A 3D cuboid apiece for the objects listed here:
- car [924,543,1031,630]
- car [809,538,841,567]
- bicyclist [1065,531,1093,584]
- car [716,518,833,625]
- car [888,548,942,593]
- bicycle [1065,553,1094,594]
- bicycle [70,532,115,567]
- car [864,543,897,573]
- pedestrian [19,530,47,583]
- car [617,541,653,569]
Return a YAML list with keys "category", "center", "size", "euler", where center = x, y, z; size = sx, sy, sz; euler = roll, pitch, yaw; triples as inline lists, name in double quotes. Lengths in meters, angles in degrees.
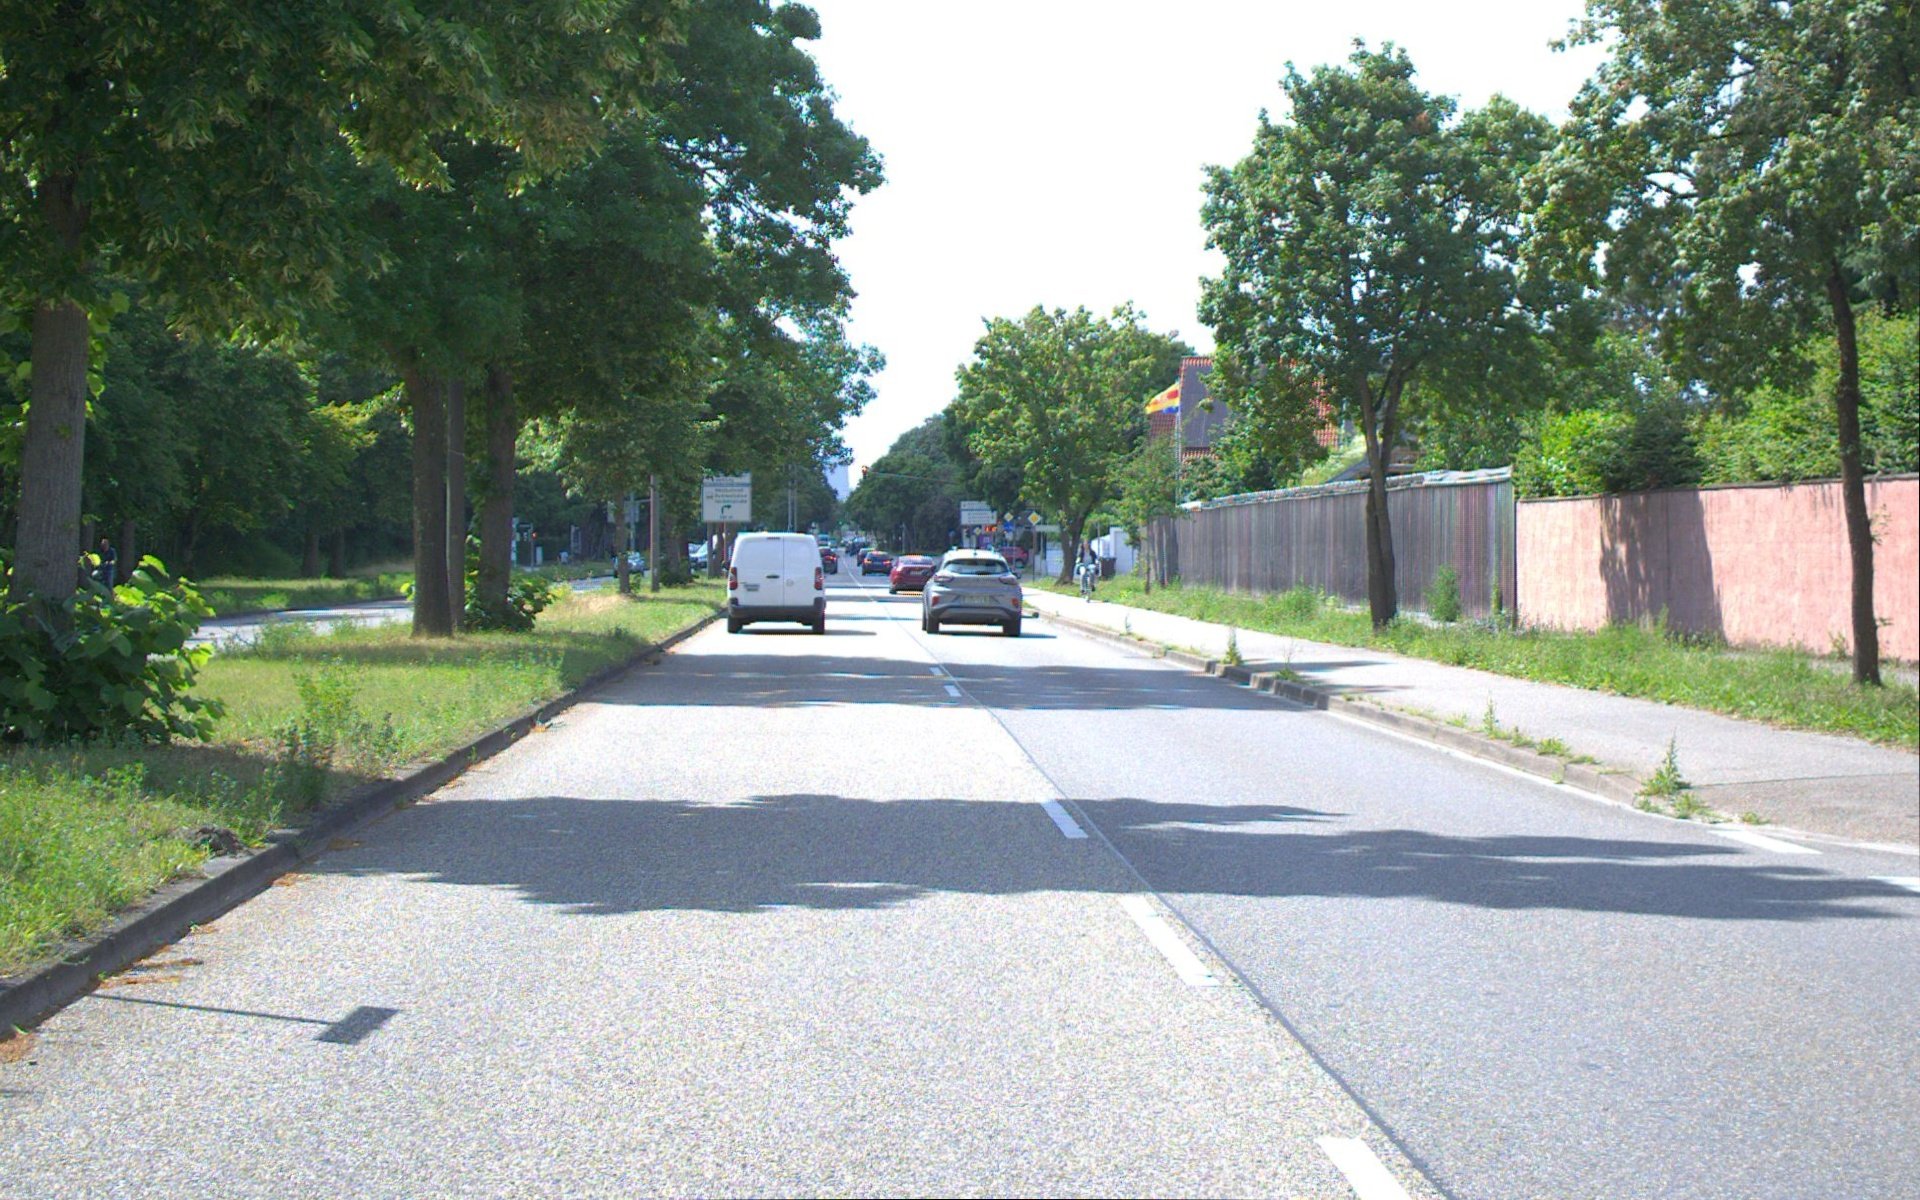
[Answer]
- category: "car"
  center: [0.299, -0.276, 64.859]
  size: [1.875, 1.583, 4.185]
  euler: [0, 1, -2]
- category: "car"
  center: [-8.556, -3.026, 218.146]
  size: [1.941, 1.761, 4.146]
  euler: [0, 1, -2]
- category: "bicyclist"
  center: [3.240, -1.155, 93.752]
  size: [0.654, 1.407, 0.986]
  euler: [-2, 1, -1]
- category: "car"
  center: [-3.399, -0.553, 63.877]
  size: [2.065, 1.905, 4.647]
  euler: [0, 1, -2]
- category: "car"
  center: [-1.660, -1.091, 125.525]
  size: [1.880, 1.581, 4.001]
  euler: [0, 1, -2]
- category: "bicycle"
  center: [3.255, -0.740, 93.697]
  size: [0.646, 1.064, 2.278]
  euler: [-2, 1, -1]
- category: "bicycle"
  center: [-22.082, -1.286, 87.541]
  size: [0.618, 0.875, 1.915]
  euler: [0, 1, 1]
- category: "car"
  center: [-4.989, -2.643, 215.607]
  size: [1.993, 1.766, 4.147]
  euler: [1, 1, -2]
- category: "pedestrian"
  center: [-28.704, -1.350, 106.473]
  size: [0.644, 1.624, 0.656]
  euler: [1, 1, -1]
- category: "car"
  center: [-20.590, -2.867, 217.866]
  size: [1.993, 1.700, 4.194]
  euler: [0, 1, -2]
